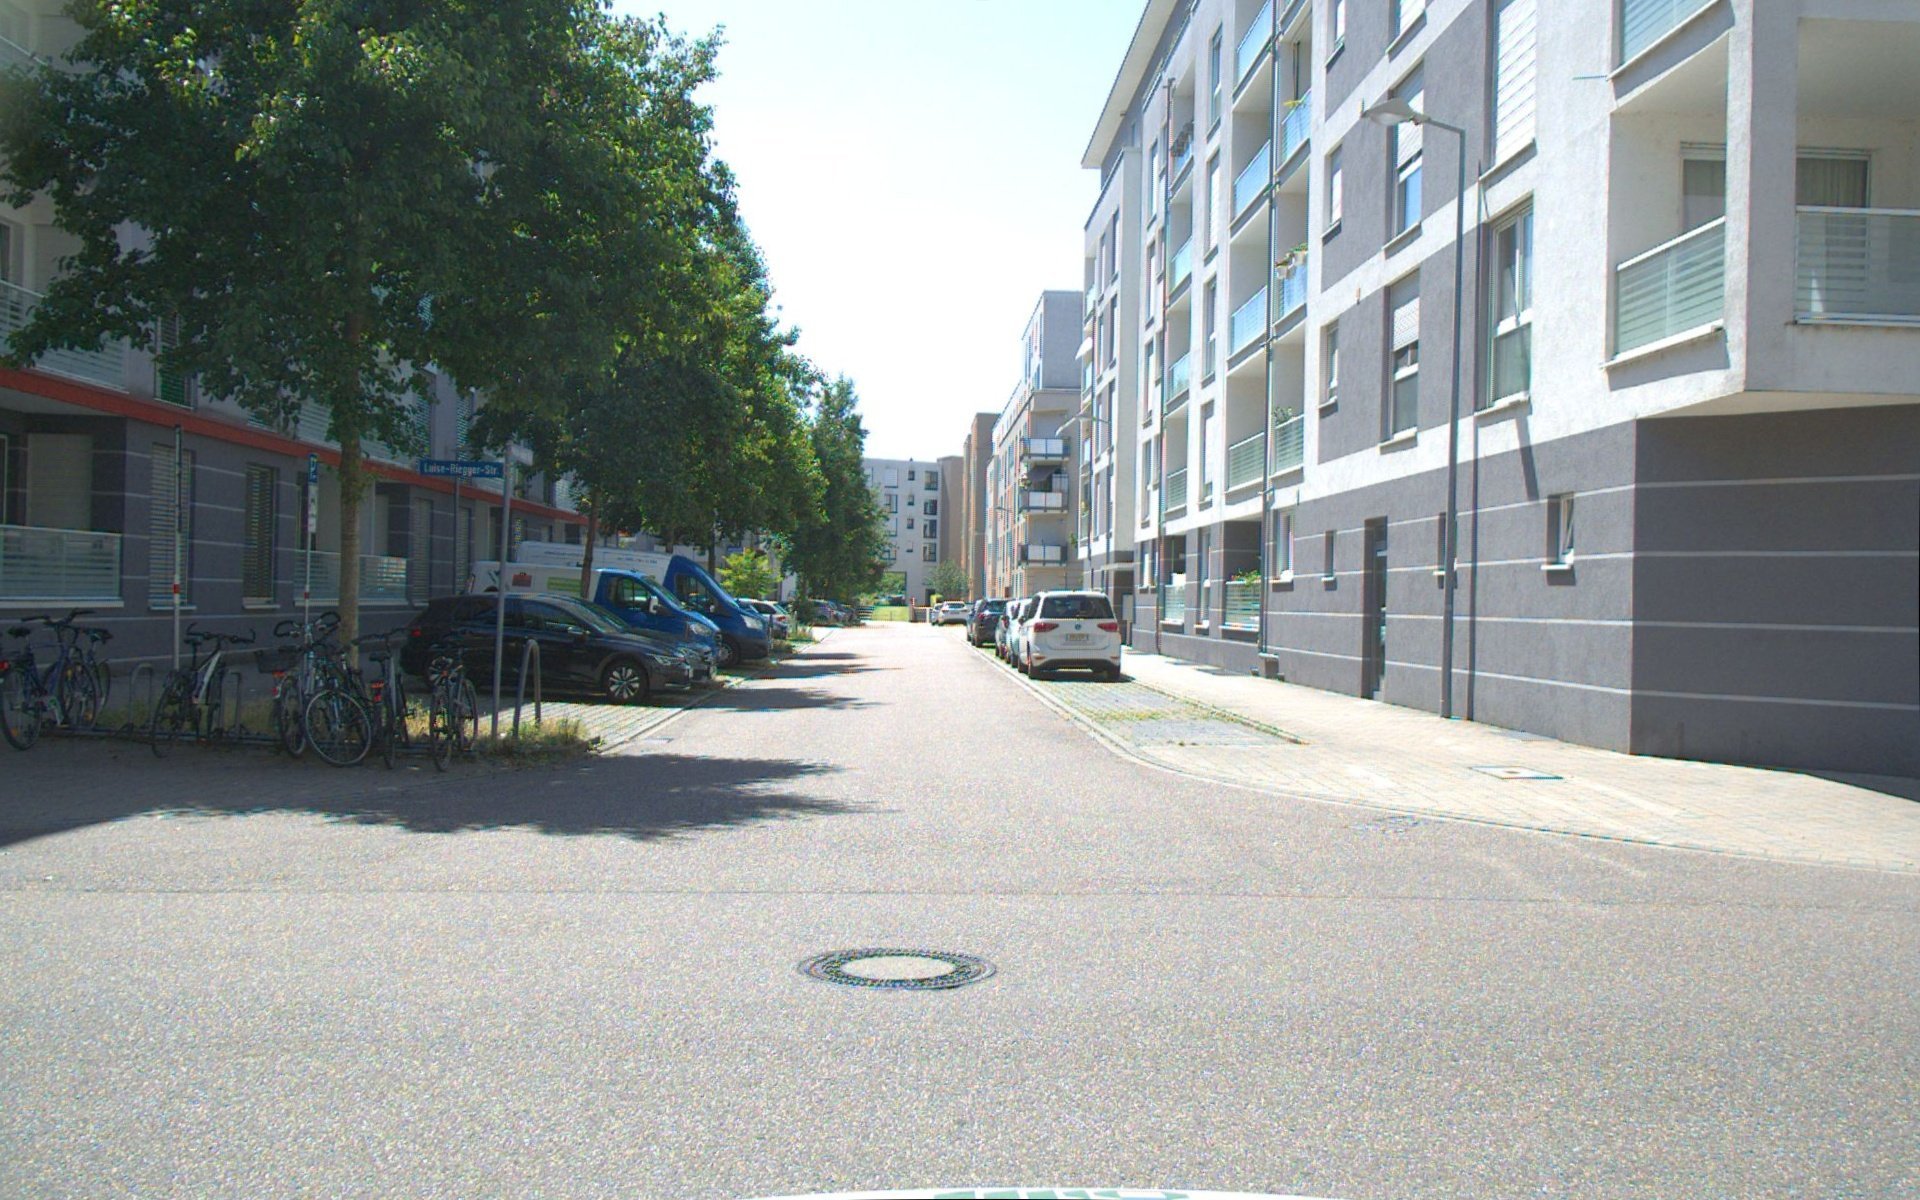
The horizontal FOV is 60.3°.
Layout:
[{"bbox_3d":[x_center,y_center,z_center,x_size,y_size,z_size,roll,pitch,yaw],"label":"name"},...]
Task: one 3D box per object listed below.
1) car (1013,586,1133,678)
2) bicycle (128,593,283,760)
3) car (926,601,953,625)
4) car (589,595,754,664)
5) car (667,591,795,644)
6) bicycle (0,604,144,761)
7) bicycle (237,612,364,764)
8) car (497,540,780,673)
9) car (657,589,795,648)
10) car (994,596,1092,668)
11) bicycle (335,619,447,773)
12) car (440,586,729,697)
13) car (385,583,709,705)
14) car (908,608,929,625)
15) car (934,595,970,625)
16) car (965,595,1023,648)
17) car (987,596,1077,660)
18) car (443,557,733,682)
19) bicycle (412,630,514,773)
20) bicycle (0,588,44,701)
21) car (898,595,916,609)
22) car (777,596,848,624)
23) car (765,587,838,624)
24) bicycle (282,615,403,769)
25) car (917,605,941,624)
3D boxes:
[{"bbox_3d":[2.132,0.582,32.317,1.957,1.686,4.114,0,0,-1],"label":"car"},{"bbox_3d":[-6.663,0.637,14.702,0.581,1.354,1.812,1,1,-1],"label":"bicycle"},{"bbox_3d":[-1.604,0.978,128.096,1.954,1.747,3.997,1,0,-3],"label":"car"},{"bbox_3d":[-7.471,0.751,43.086,3.905,1.691,2.000,1,0,0],"label":"car"},{"bbox_3d":[-7.521,0.559,54.573,3.905,1.646,2.000,1,0,0],"label":"car"},{"bbox_3d":[-8.032,0.669,14.481,0.675,1.190,2.222,3,1,-2],"label":"bicycle"},{"bbox_3d":[-5.921,0.758,14.939,0.508,1.225,1.751,2,1,-4],"label":"bicycle"},{"bbox_3d":[-7.141,0.148,37.380,5.903,2.865,2.604,0,0,-2],"label":"car"},{"bbox_3d":[-7.156,0.554,50.849,3.905,1.691,2.000,1,0,0],"label":"car"},{"bbox_3d":[1.856,0.691,38.009,1.953,1.551,3.999,0,0,-1],"label":"car"},{"bbox_3d":[-5.033,0.816,14.714,0.560,1.194,1.765,4,1,-9],"label":"bicycle"},{"bbox_3d":[-6.104,0.662,27.285,4.295,1.569,1.877,3,0,-2],"label":"car"},{"bbox_3d":[-6.087,0.635,24.798,4.295,1.541,2.074,3,0,-2],"label":"car"},{"bbox_3d":[-4.105,1.602,163.323,1.953,1.545,4.000,1,0,0],"label":"car"},{"bbox_3d":[-0.507,0.594,100.902,1.954,1.704,3.997,1,0,-3],"label":"car"},{"bbox_3d":[1.087,0.659,52.393,1.721,1.579,4.001,2,0,1],"label":"car"},{"bbox_3d":[1.802,0.687,42.837,1.954,1.551,3.997,0,0,-3],"label":"car"},{"bbox_3d":[-7.082,0.362,31.949,5.042,2.156,2.310,2,0,-2],"label":"car"},{"bbox_3d":[-4.462,0.879,14.955,0.456,1.161,1.924,1,0,-4],"label":"bicycle"},{"bbox_3d":[-10.947,0.491,18.370,0.540,1.262,1.924,0,0,-3],"label":"bicycle"},{"bbox_3d":[-5.918,0.240,184.137,1.954,1.545,3.997,1,0,-3],"label":"car"},{"bbox_3d":[-8.798,0.590,98.784,3.903,1.630,2.001,1,0,4],"label":"car"},{"bbox_3d":[-9.203,0.298,96.161,3.903,2.049,2.001,1,0,4],"label":"car"},{"bbox_3d":[-5.457,0.777,14.704,0.425,1.225,1.699,2,1,-1],"label":"bicycle"},{"bbox_3d":[-2.680,1.215,142.122,1.954,1.545,3.997,1,0,-3],"label":"car"}]
